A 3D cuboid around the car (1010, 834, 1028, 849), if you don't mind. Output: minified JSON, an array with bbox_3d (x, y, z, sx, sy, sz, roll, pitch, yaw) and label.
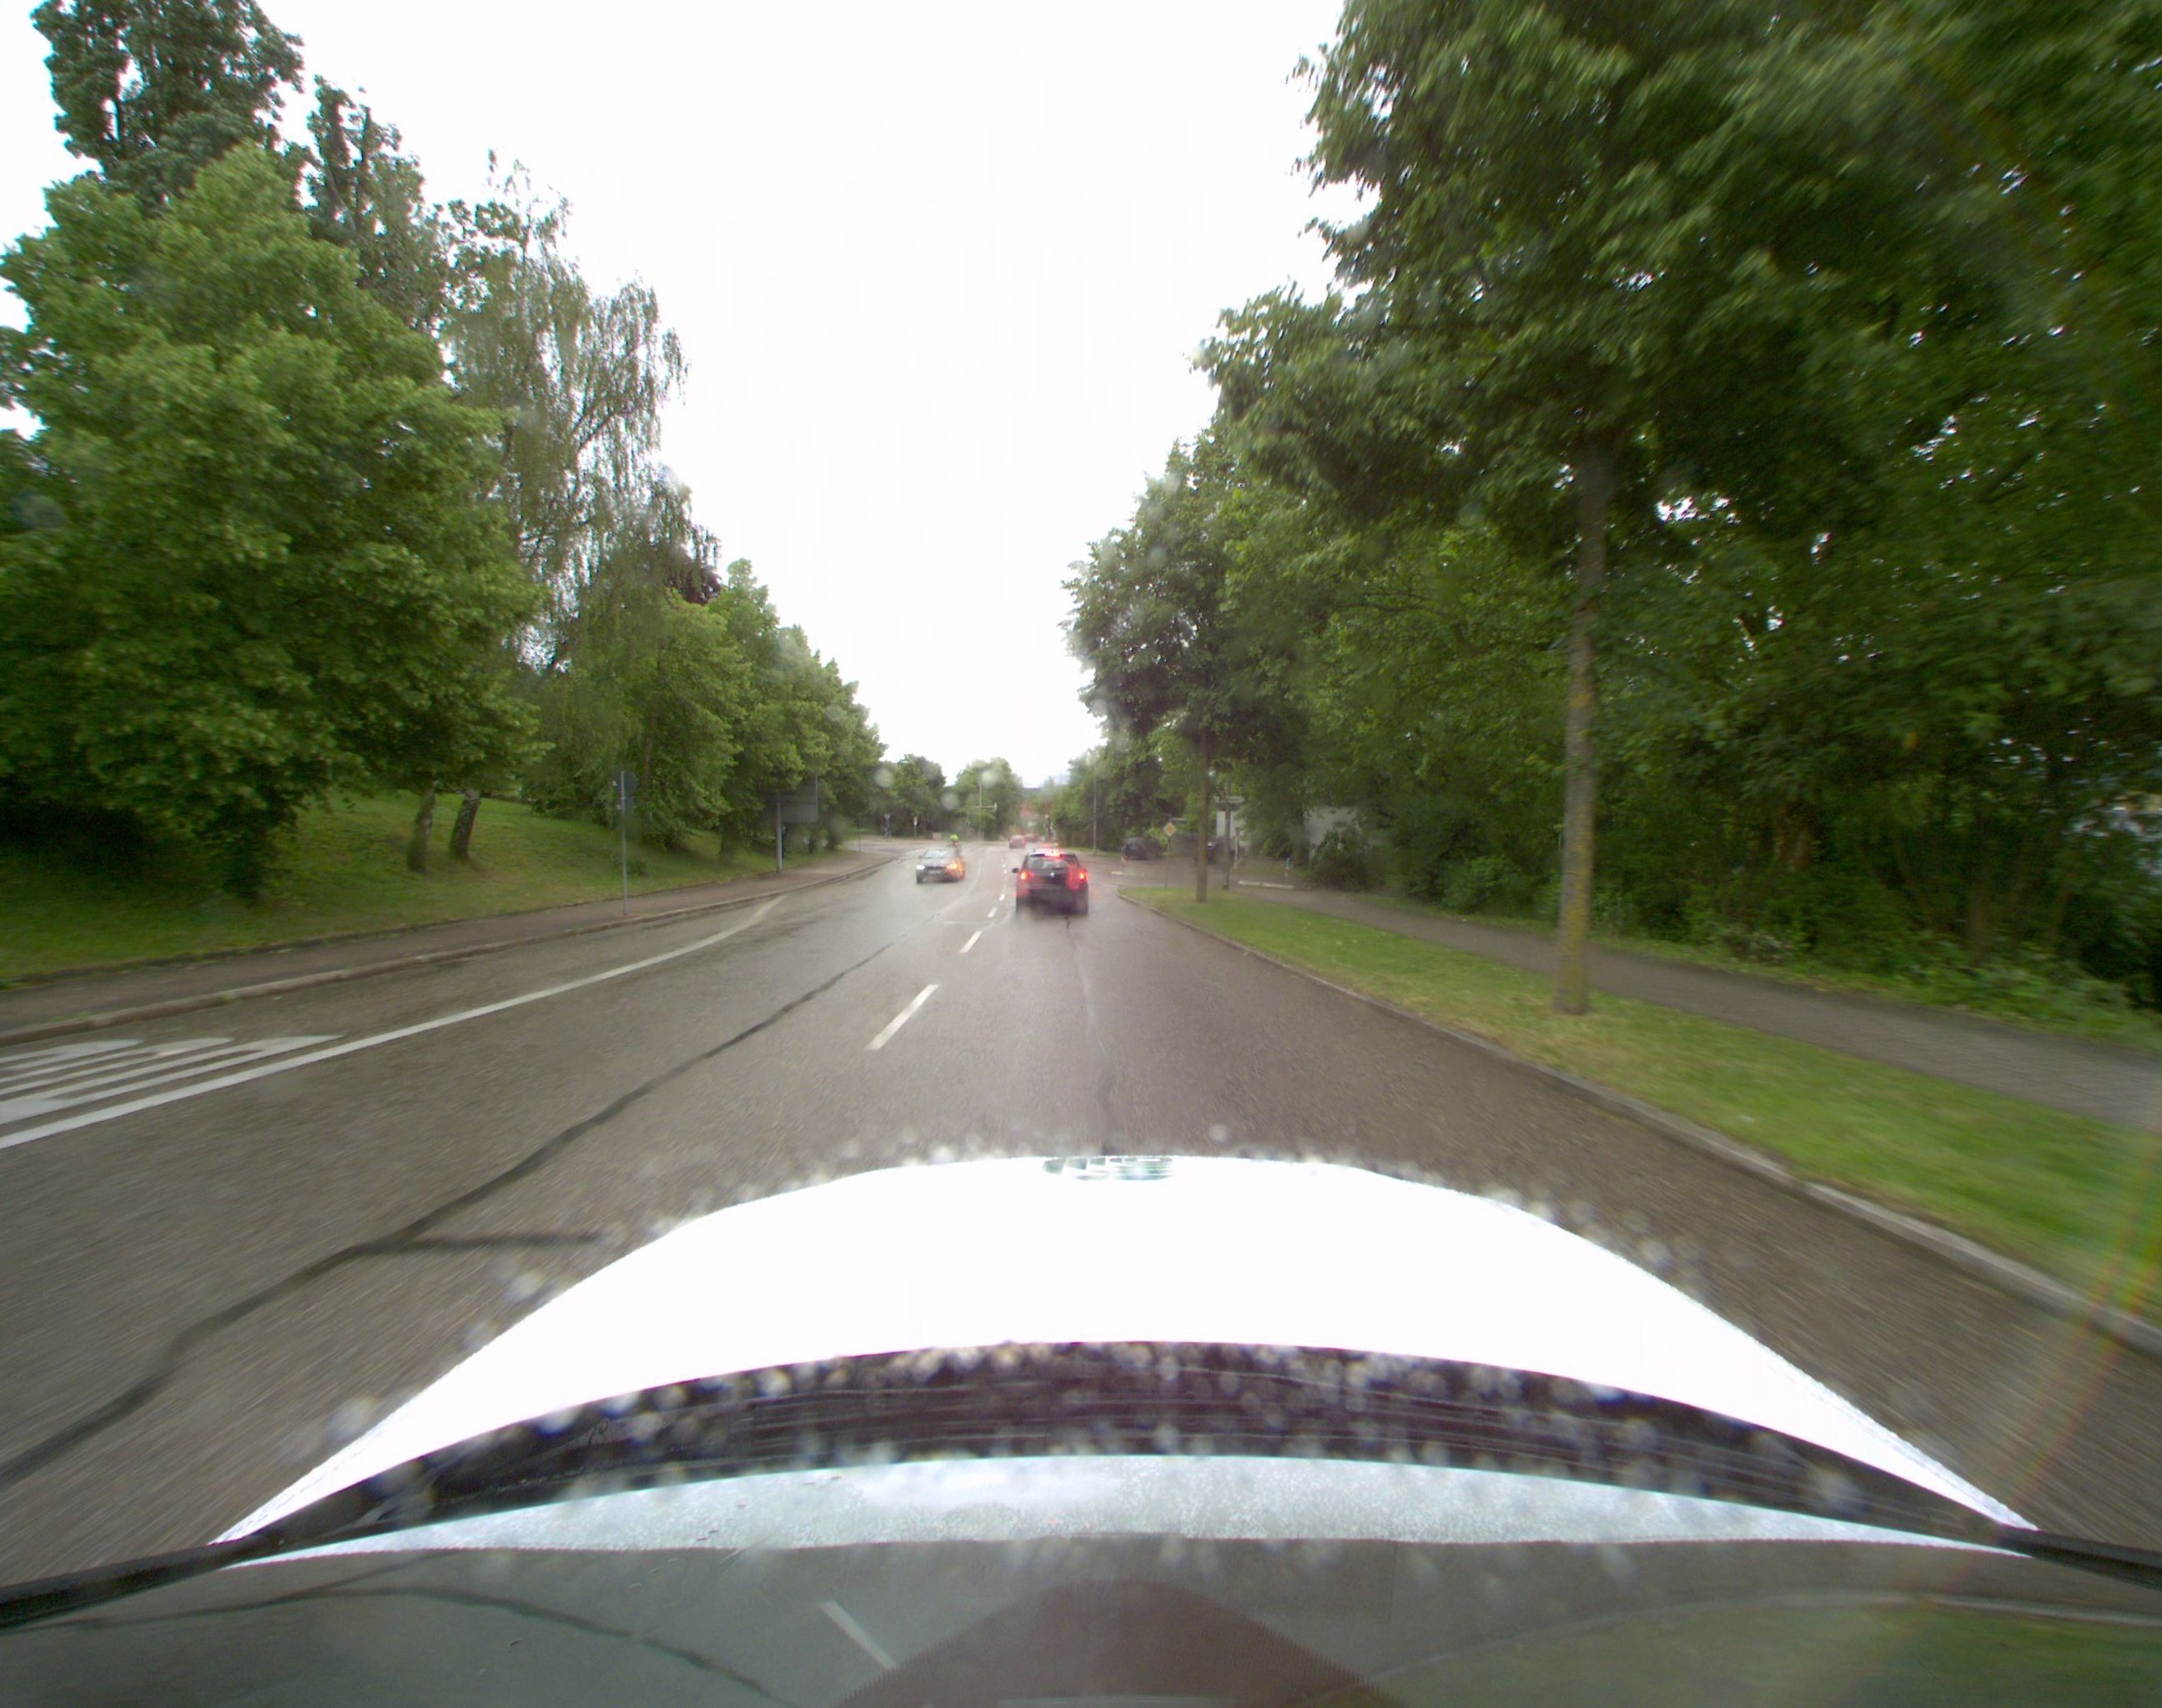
[{"bbox_3d":[-6.672,-1.319,87.588,1.717,1.464,3.997,4,1,-3],"label":"car"}]

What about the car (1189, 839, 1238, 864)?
[{"bbox_3d":[9.470,-0.213,57.898,1.734,1.469,4.596,4,5,32],"label":"car"}]

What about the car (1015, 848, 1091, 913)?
[{"bbox_3d":[-0.716,0.629,20.708,1.717,1.464,3.996,1,0,-2],"label":"car"}]

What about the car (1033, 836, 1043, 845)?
[{"bbox_3d":[-7.380,-2.326,140.043,1.717,1.464,3.997,4,1,-3],"label":"car"}]

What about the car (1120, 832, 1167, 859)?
[{"bbox_3d":[4.701,-0.688,60.191,1.930,1.688,4.932,3,5,23],"label":"car"}]

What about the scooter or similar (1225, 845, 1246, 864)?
[{"bbox_3d":[10.554,0.011,55.600,1.336,1.285,0.559,-1,1,-11],"label":"scooter or similar"}]

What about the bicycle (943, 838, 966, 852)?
[{"bbox_3d":[-10.509,-0.740,67.734,0.859,1.155,2.013,0,0,-44],"label":"bicycle"}]

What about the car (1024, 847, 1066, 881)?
[{"bbox_3d":[-1.749,0.414,38.102,1.752,1.464,3.992,0,1,-6],"label":"car"}]

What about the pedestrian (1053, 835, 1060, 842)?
[{"bbox_3d":[-4.174,-2.667,140.282,1.068,1.355,0.920,0,1,5],"label":"pedestrian"}]

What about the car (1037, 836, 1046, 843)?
[{"bbox_3d":[-8.209,-2.985,168.554,1.717,1.464,3.997,4,1,-3],"label":"car"}]

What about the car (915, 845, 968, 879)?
[{"bbox_3d":[-6.044,0.339,35.645,1.717,1.383,4.136,1,0,-2],"label":"car"}]

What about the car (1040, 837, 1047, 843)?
[{"bbox_3d":[-9.349,-3.576,204.685,1.717,1.464,3.997,4,1,-3],"label":"car"}]

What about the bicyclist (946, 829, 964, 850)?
[{"bbox_3d":[-10.492,-1.191,67.732,0.859,1.755,1.270,1,0,-44],"label":"bicyclist"}]

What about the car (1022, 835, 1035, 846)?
[{"bbox_3d":[-7.825,-2.078,122.219,1.717,1.464,3.997,4,1,-3],"label":"car"}]
